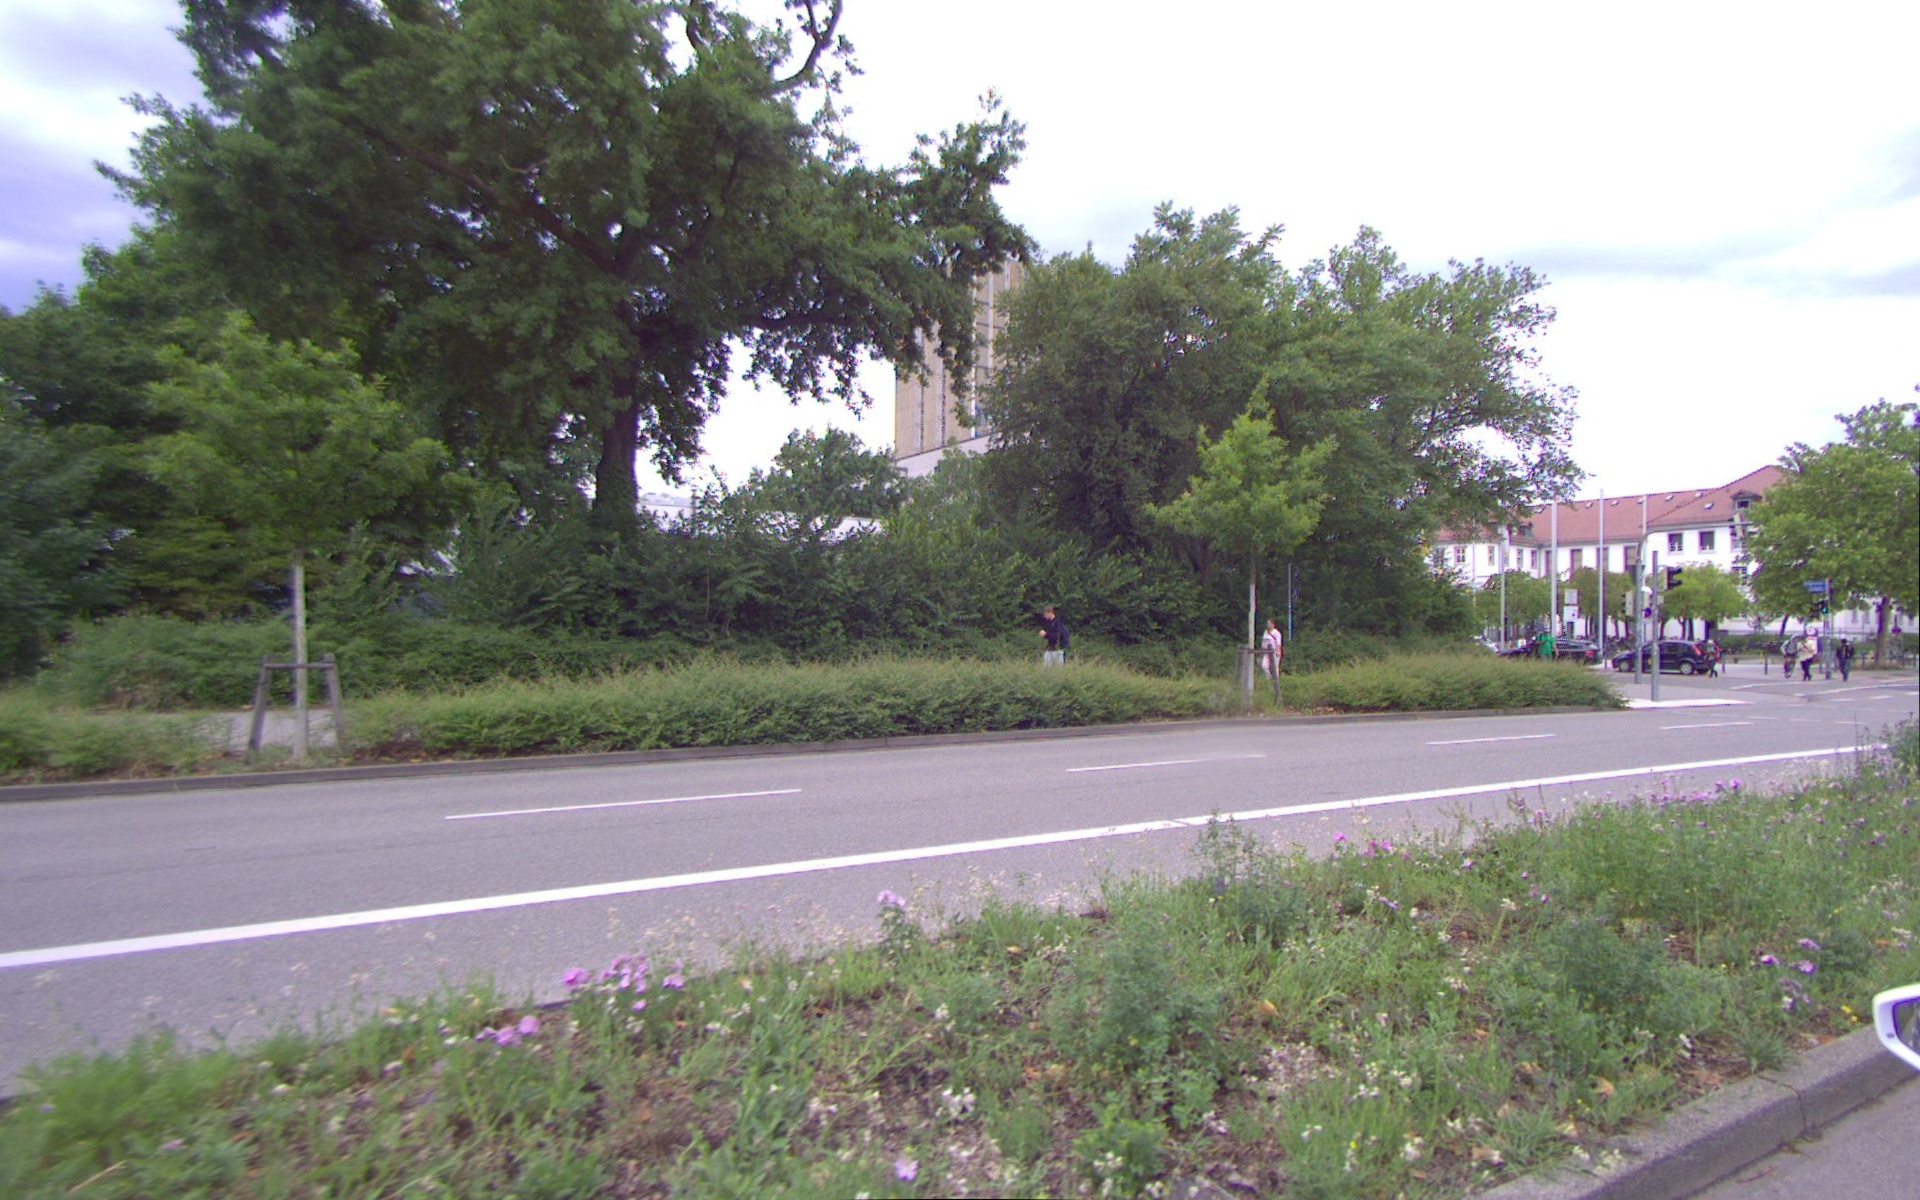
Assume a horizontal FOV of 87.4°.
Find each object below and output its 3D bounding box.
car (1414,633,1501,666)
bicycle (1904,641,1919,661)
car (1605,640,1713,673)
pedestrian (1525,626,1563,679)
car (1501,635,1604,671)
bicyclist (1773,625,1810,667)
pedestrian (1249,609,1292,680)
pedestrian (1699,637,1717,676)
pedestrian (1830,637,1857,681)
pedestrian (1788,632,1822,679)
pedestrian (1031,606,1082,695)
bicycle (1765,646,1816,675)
[{"bbox_3d":[26.398,2.582,53.383,1.666,1.560,3.859,-1,0,-31],"label":"car"},{"bbox_3d":[52.954,2.823,55.597,2.024,1.074,0.604,1,-3,-36],"label":"bicycle"},{"bbox_3d":[31.381,2.533,45.159,1.547,1.240,3.633,-7,1,-34],"label":"car"},{"bbox_3d":[20.145,1.798,34.677,0.924,1.782,0.876,2,0,18],"label":"pedestrian"},{"bbox_3d":[28.565,2.529,48.474,4.008,1.472,1.612,-1,3,44],"label":"car"},{"bbox_3d":[34.251,1.874,41.371,0.656,1.657,0.960,2,0,-7],"label":"bicyclist"},{"bbox_3d":[7.348,1.052,23.782,0.663,1.657,0.697,1,-2,-29],"label":"pedestrian"},{"bbox_3d":[31.170,2.342,41.857,0.563,1.545,0.846,0,-6,37],"label":"pedestrian"},{"bbox_3d":[33.326,2.229,37.894,0.780,1.578,0.696,0,-4,41],"label":"pedestrian"},{"bbox_3d":[33.203,2.197,39.473,0.827,1.761,0.830,1,-5,26],"label":"pedestrian"},{"bbox_3d":[1.930,1.004,20.185,0.808,1.752,0.617,1,-2,-29],"label":"pedestrian"},{"bbox_3d":[34.243,2.487,41.429,0.656,1.076,1.617,2,-1,-7],"label":"bicycle"}]
